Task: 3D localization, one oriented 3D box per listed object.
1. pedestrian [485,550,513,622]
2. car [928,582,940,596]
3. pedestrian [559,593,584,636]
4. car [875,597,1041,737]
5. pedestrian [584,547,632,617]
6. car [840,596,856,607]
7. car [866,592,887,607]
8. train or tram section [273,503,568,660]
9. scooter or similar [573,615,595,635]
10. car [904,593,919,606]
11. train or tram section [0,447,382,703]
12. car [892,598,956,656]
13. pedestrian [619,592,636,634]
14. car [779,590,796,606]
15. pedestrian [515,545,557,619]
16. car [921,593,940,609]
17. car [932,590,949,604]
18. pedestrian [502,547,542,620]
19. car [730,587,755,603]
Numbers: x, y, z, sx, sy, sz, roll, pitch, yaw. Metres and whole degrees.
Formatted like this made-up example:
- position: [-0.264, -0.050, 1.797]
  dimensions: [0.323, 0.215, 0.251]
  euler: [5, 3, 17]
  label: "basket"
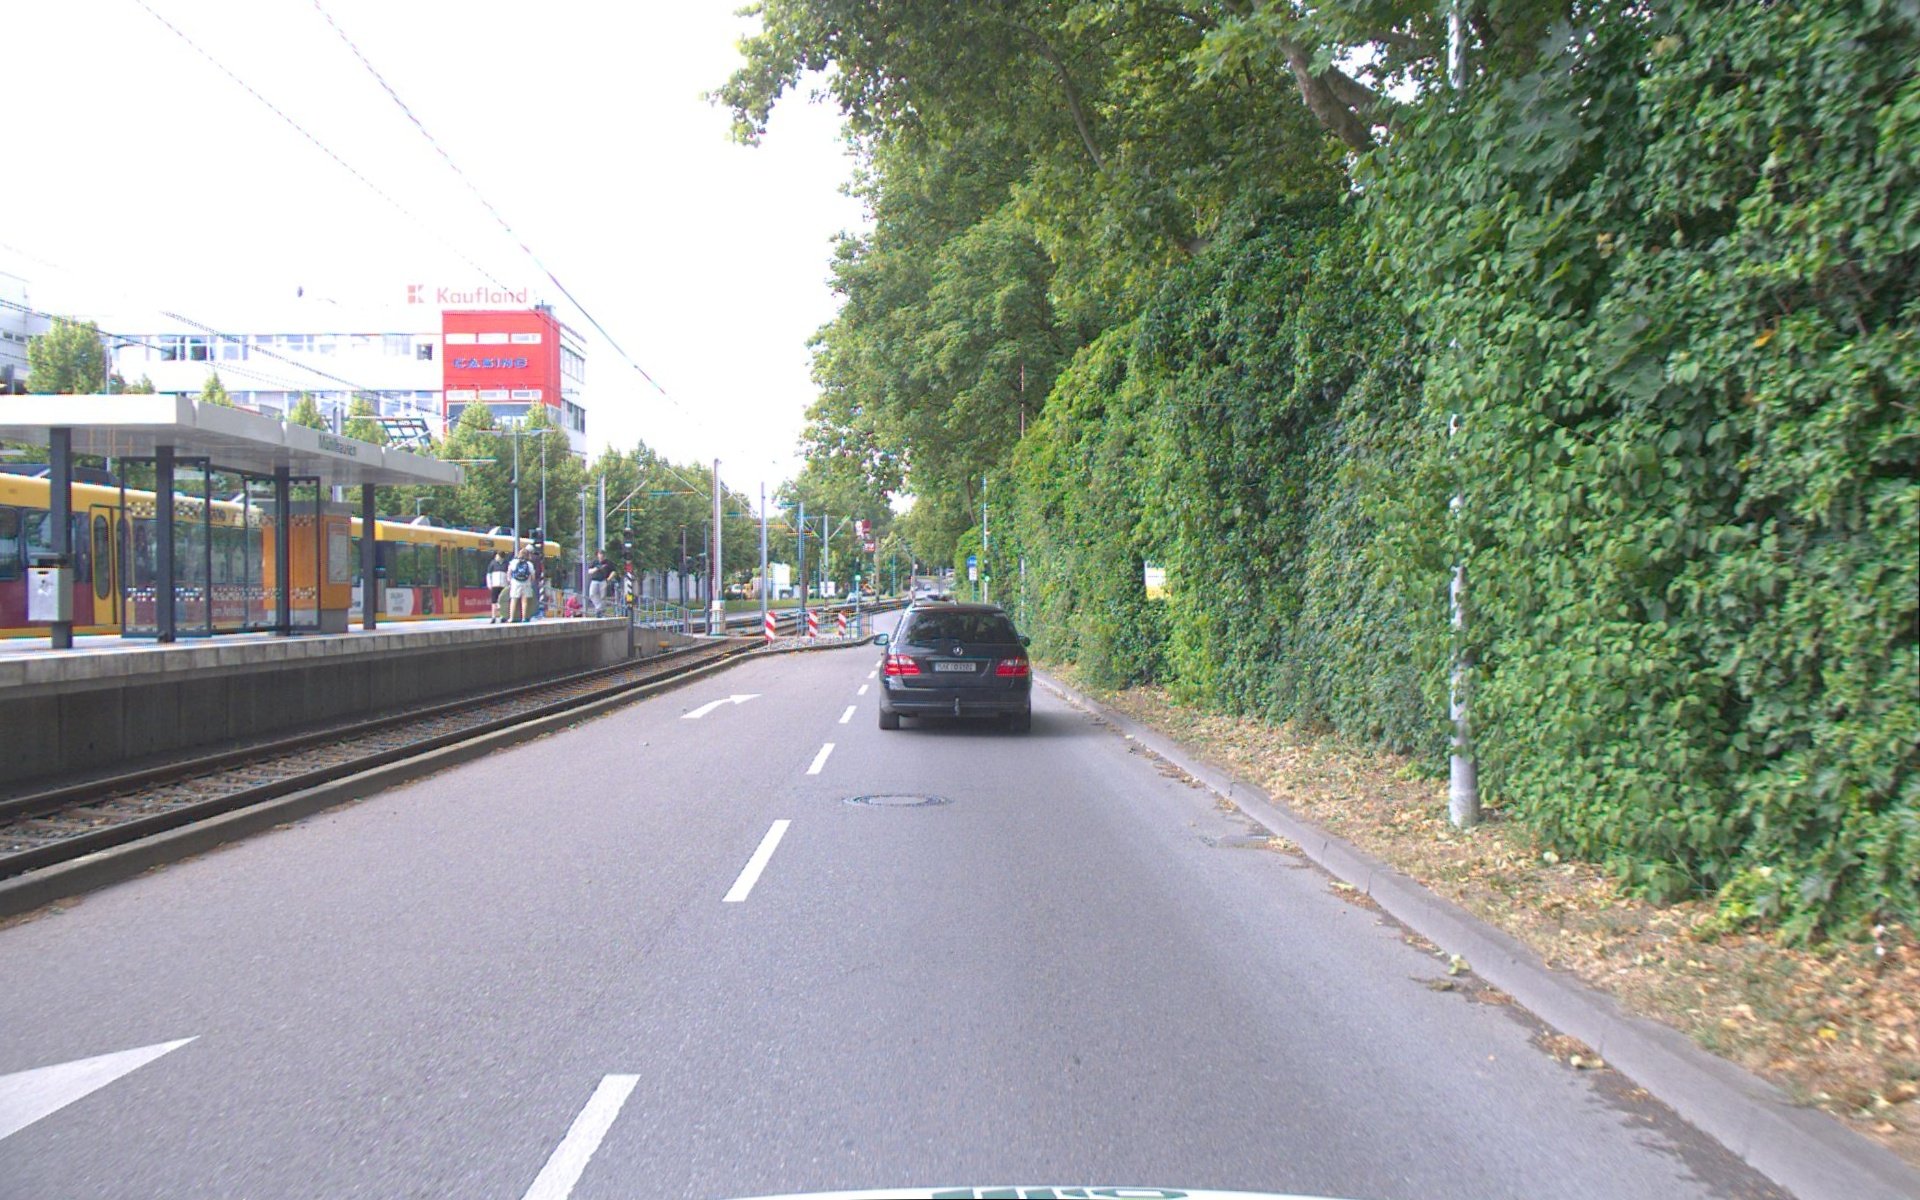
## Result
- position: [-9.841, -0.303, 35.317]
  dimensions: [0.469, 1.509, 0.538]
  euler: [-2, 0, -24]
  label: "pedestrian"
- position: [-4.013, -1.661, 257.175]
  dimensions: [1.853, 2.049, 3.897]
  euler: [-2, 0, -1]
  label: "car"
- position: [-15.791, 0.585, 67.296]
  dimensions: [0.600, 1.683, 0.796]
  euler: [-2, 0, 20]
  label: "pedestrian"
- position: [-0.030, 0.732, 20.252]
  dimensions: [1.796, 1.504, 4.415]
  euler: [1, 0, 0]
  label: "car"
- position: [-8.705, -0.442, 40.927]
  dimensions: [0.732, 1.707, 0.871]
  euler: [-2, 0, 42]
  label: "pedestrian"
- position: [-14.836, 0.169, 219.185]
  dimensions: [1.625, 1.417, 3.721]
  euler: [0, 0, 4]
  label: "car"
- position: [-8.469, -0.055, 168.053]
  dimensions: [1.788, 1.556, 3.928]
  euler: [1, 0, 1]
  label: "car"
- position: [-15.840, -0.541, 51.113]
  dimensions: [2.700, 3.895, 18.633]
  euler: [-2, 0, 1]
  label: "train or tram section"
- position: [-15.263, 1.003, 67.107]
  dimensions: [0.485, 0.781, 0.799]
  euler: [-2, 0, 20]
  label: "scooter or similar"
- position: [-6.218, -0.084, 212.376]
  dimensions: [1.788, 1.556, 3.986]
  euler: [1, 0, 1]
  label: "car"
- position: [-16.097, -0.378, 32.475]
  dimensions: [2.700, 3.950, 18.632]
  euler: [-1, 0, 1]
  label: "train or tram section"
- position: [-1.075, 0.757, 48.757]
  dimensions: [1.788, 1.556, 4.414]
  euler: [1, 0, -2]
  label: "car"
- position: [-13.524, 0.517, 67.199]
  dimensions: [0.505, 1.691, 0.466]
  euler: [-2, 0, 10]
  label: "pedestrian"
- position: [-23.259, -0.294, 222.924]
  dimensions: [1.953, 2.049, 3.999]
  euler: [-2, 0, -1]
  label: "car"
- position: [-10.017, -0.429, 39.091]
  dimensions: [0.755, 1.707, 0.790]
  euler: [-2, 0, -1]
  label: "pedestrian"
- position: [-2.911, 0.105, 163.915]
  dimensions: [1.788, 1.556, 4.416]
  euler: [0, 0, 1]
  label: "car"
- position: [-2.136, -0.353, 185.144]
  dimensions: [1.788, 1.556, 3.928]
  euler: [1, 0, 1]
  label: "car"
- position: [-9.146, -0.346, 34.516]
  dimensions: [0.511, 1.508, 0.579]
  euler: [-2, 0, 37]
  label: "pedestrian"
- position: [-25.165, -0.573, 191.835]
  dimensions: [1.952, 1.773, 4.989]
  euler: [-1, 0, 3]
  label: "car"
